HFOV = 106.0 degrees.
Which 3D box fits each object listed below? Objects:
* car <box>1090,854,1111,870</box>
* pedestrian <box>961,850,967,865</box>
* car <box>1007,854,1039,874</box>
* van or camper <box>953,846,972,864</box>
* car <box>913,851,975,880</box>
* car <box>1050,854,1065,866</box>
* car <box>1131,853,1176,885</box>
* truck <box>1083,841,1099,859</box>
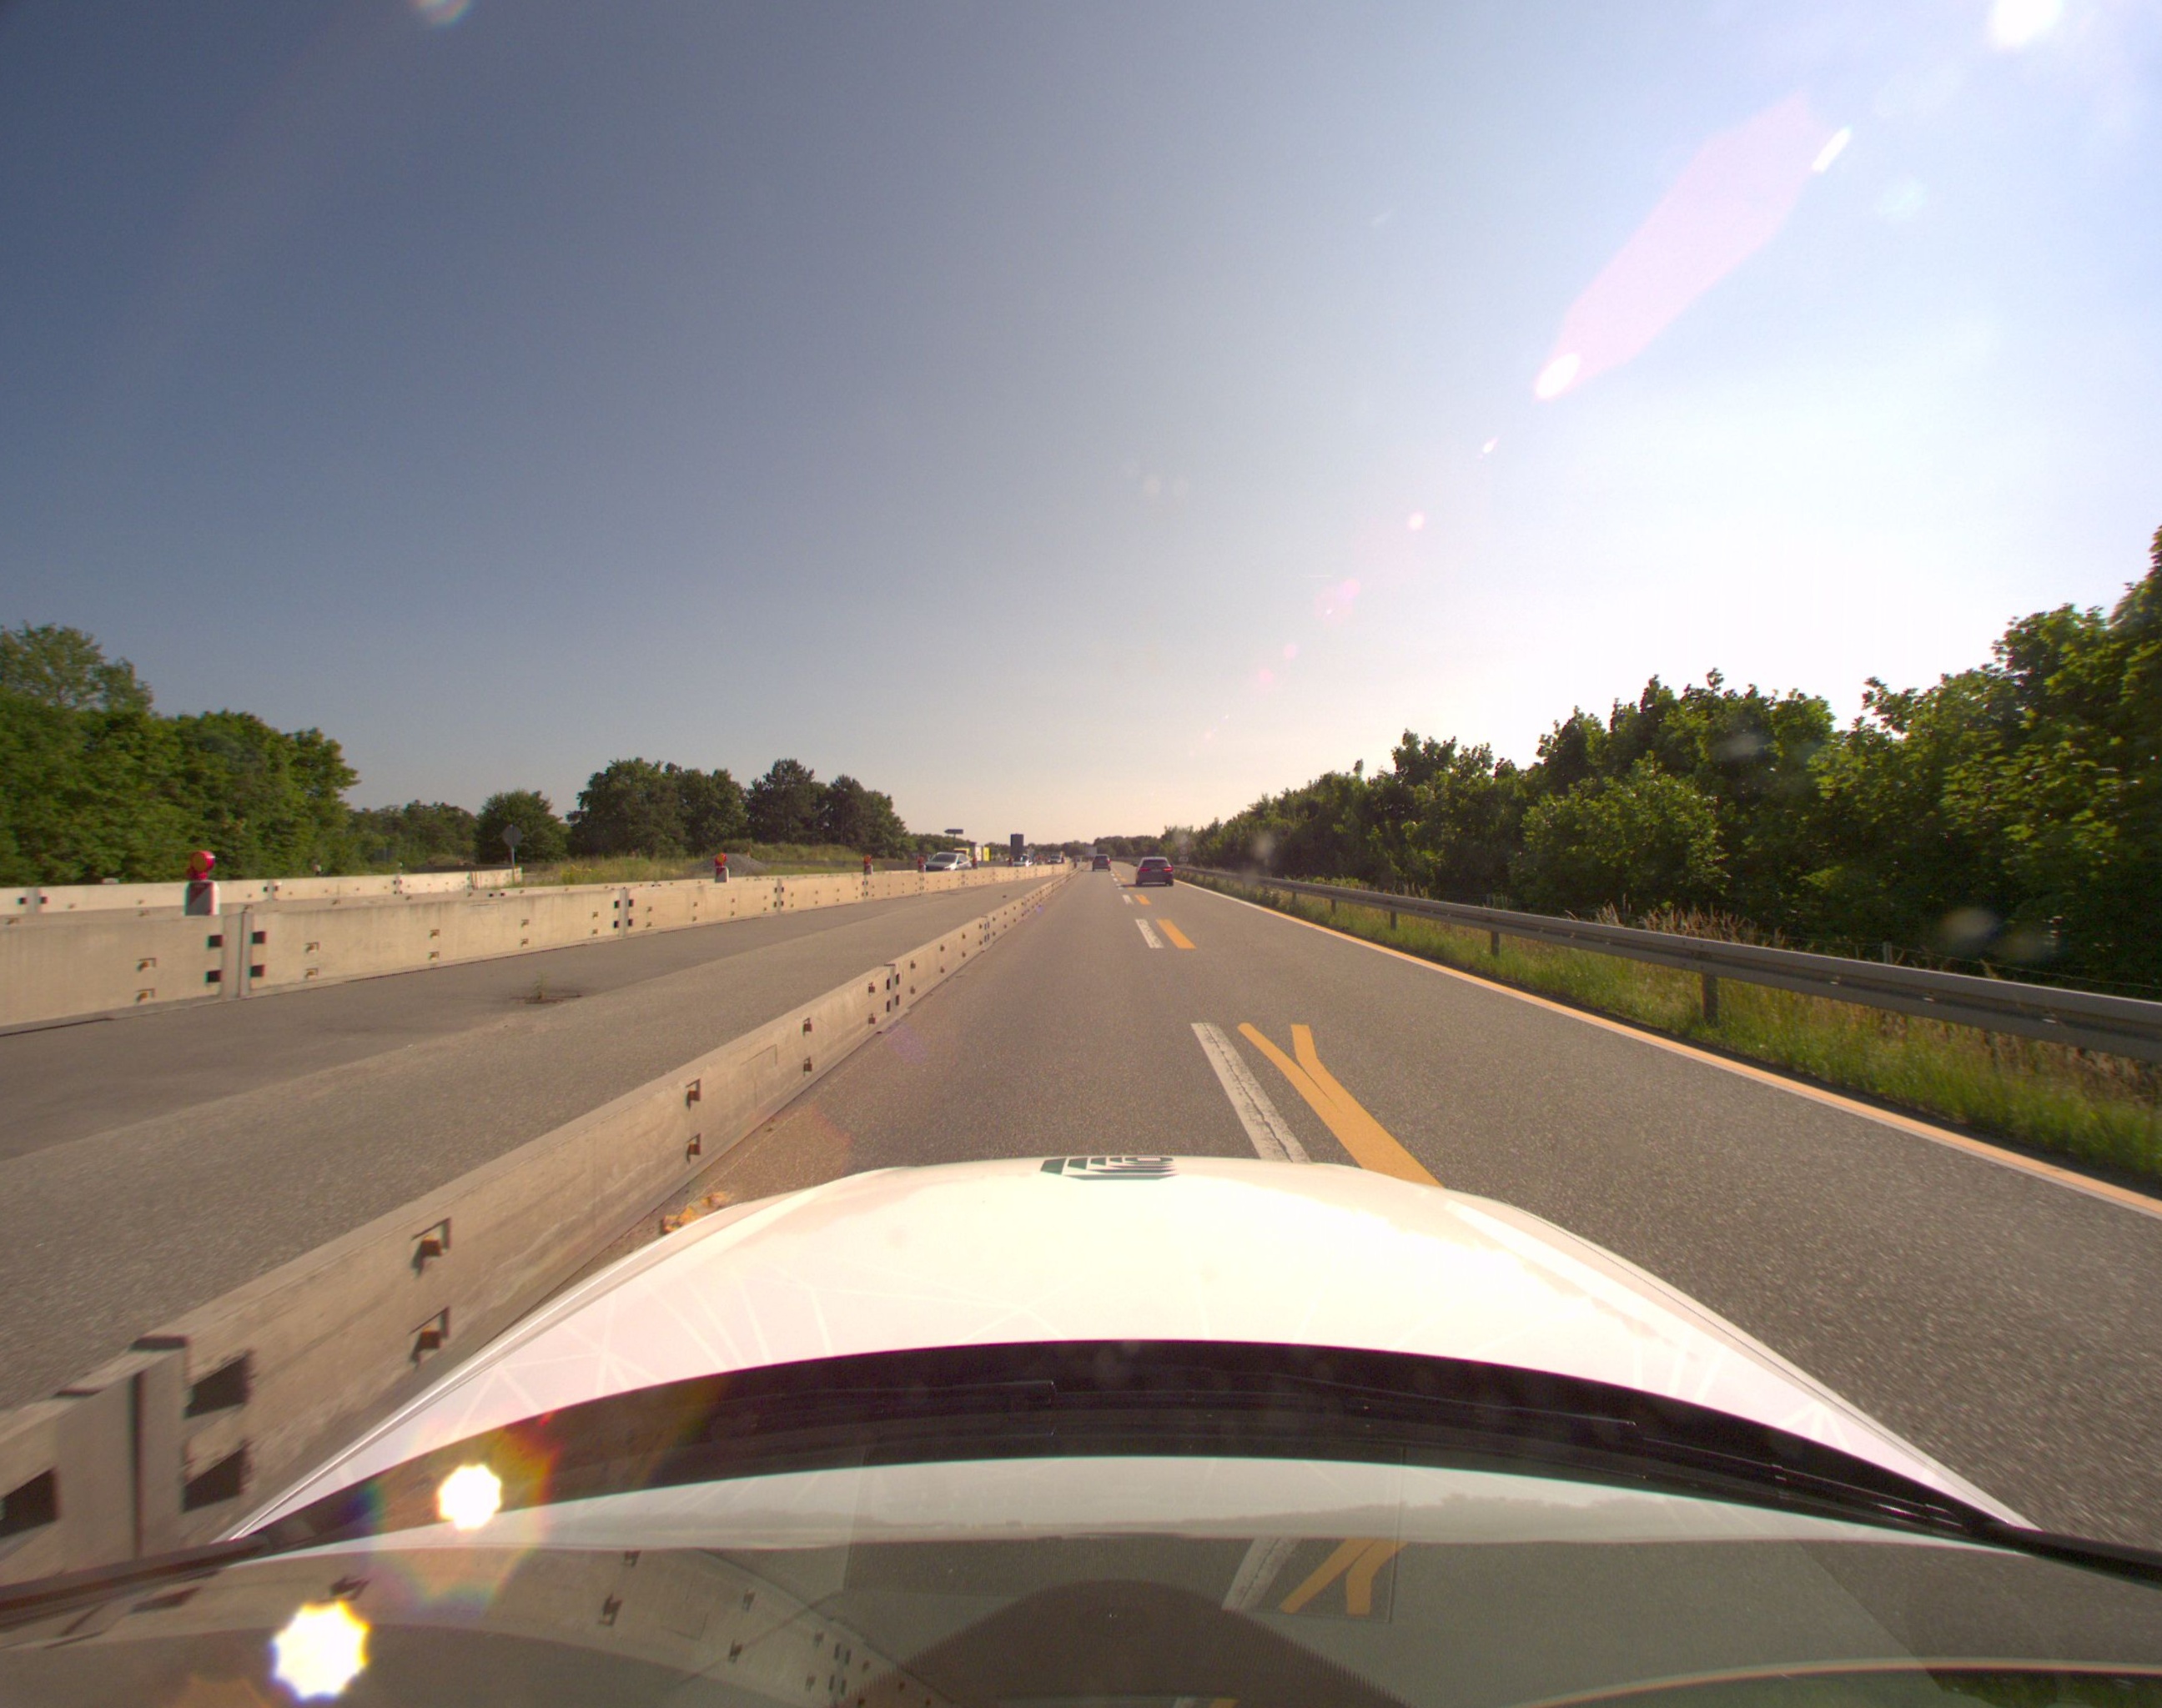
[{"bbox_3d":[1.931,0.749,78.959,1.986,1.567,4.002,0,0,2],"label":"car"},{"bbox_3d":[-14.264,0.402,99.404,0.741,1.820,0.794,0,0,-10],"label":"pedestrian"},{"bbox_3d":[-4.554,0.749,64.451,1.701,1.515,4.188,0,0,9],"label":"car"},{"bbox_3d":[-15.428,0.128,106.006,1.990,2.378,6.192,0,0,-4],"label":"van or camper"},{"bbox_3d":[-7.458,0.612,44.852,1.982,1.515,4.591,0,0,8],"label":"car"},{"bbox_3d":[-3.257,0.833,113.433,1.987,1.622,4.847,0,0,0],"label":"car"},{"bbox_3d":[3.597,0.703,41.152,1.914,1.494,4.000,1,0,0],"label":"car"},{"bbox_3d":[2.590,-1.082,222.563,3.751,4.911,14.125,1,0,-2],"label":"truck"}]
